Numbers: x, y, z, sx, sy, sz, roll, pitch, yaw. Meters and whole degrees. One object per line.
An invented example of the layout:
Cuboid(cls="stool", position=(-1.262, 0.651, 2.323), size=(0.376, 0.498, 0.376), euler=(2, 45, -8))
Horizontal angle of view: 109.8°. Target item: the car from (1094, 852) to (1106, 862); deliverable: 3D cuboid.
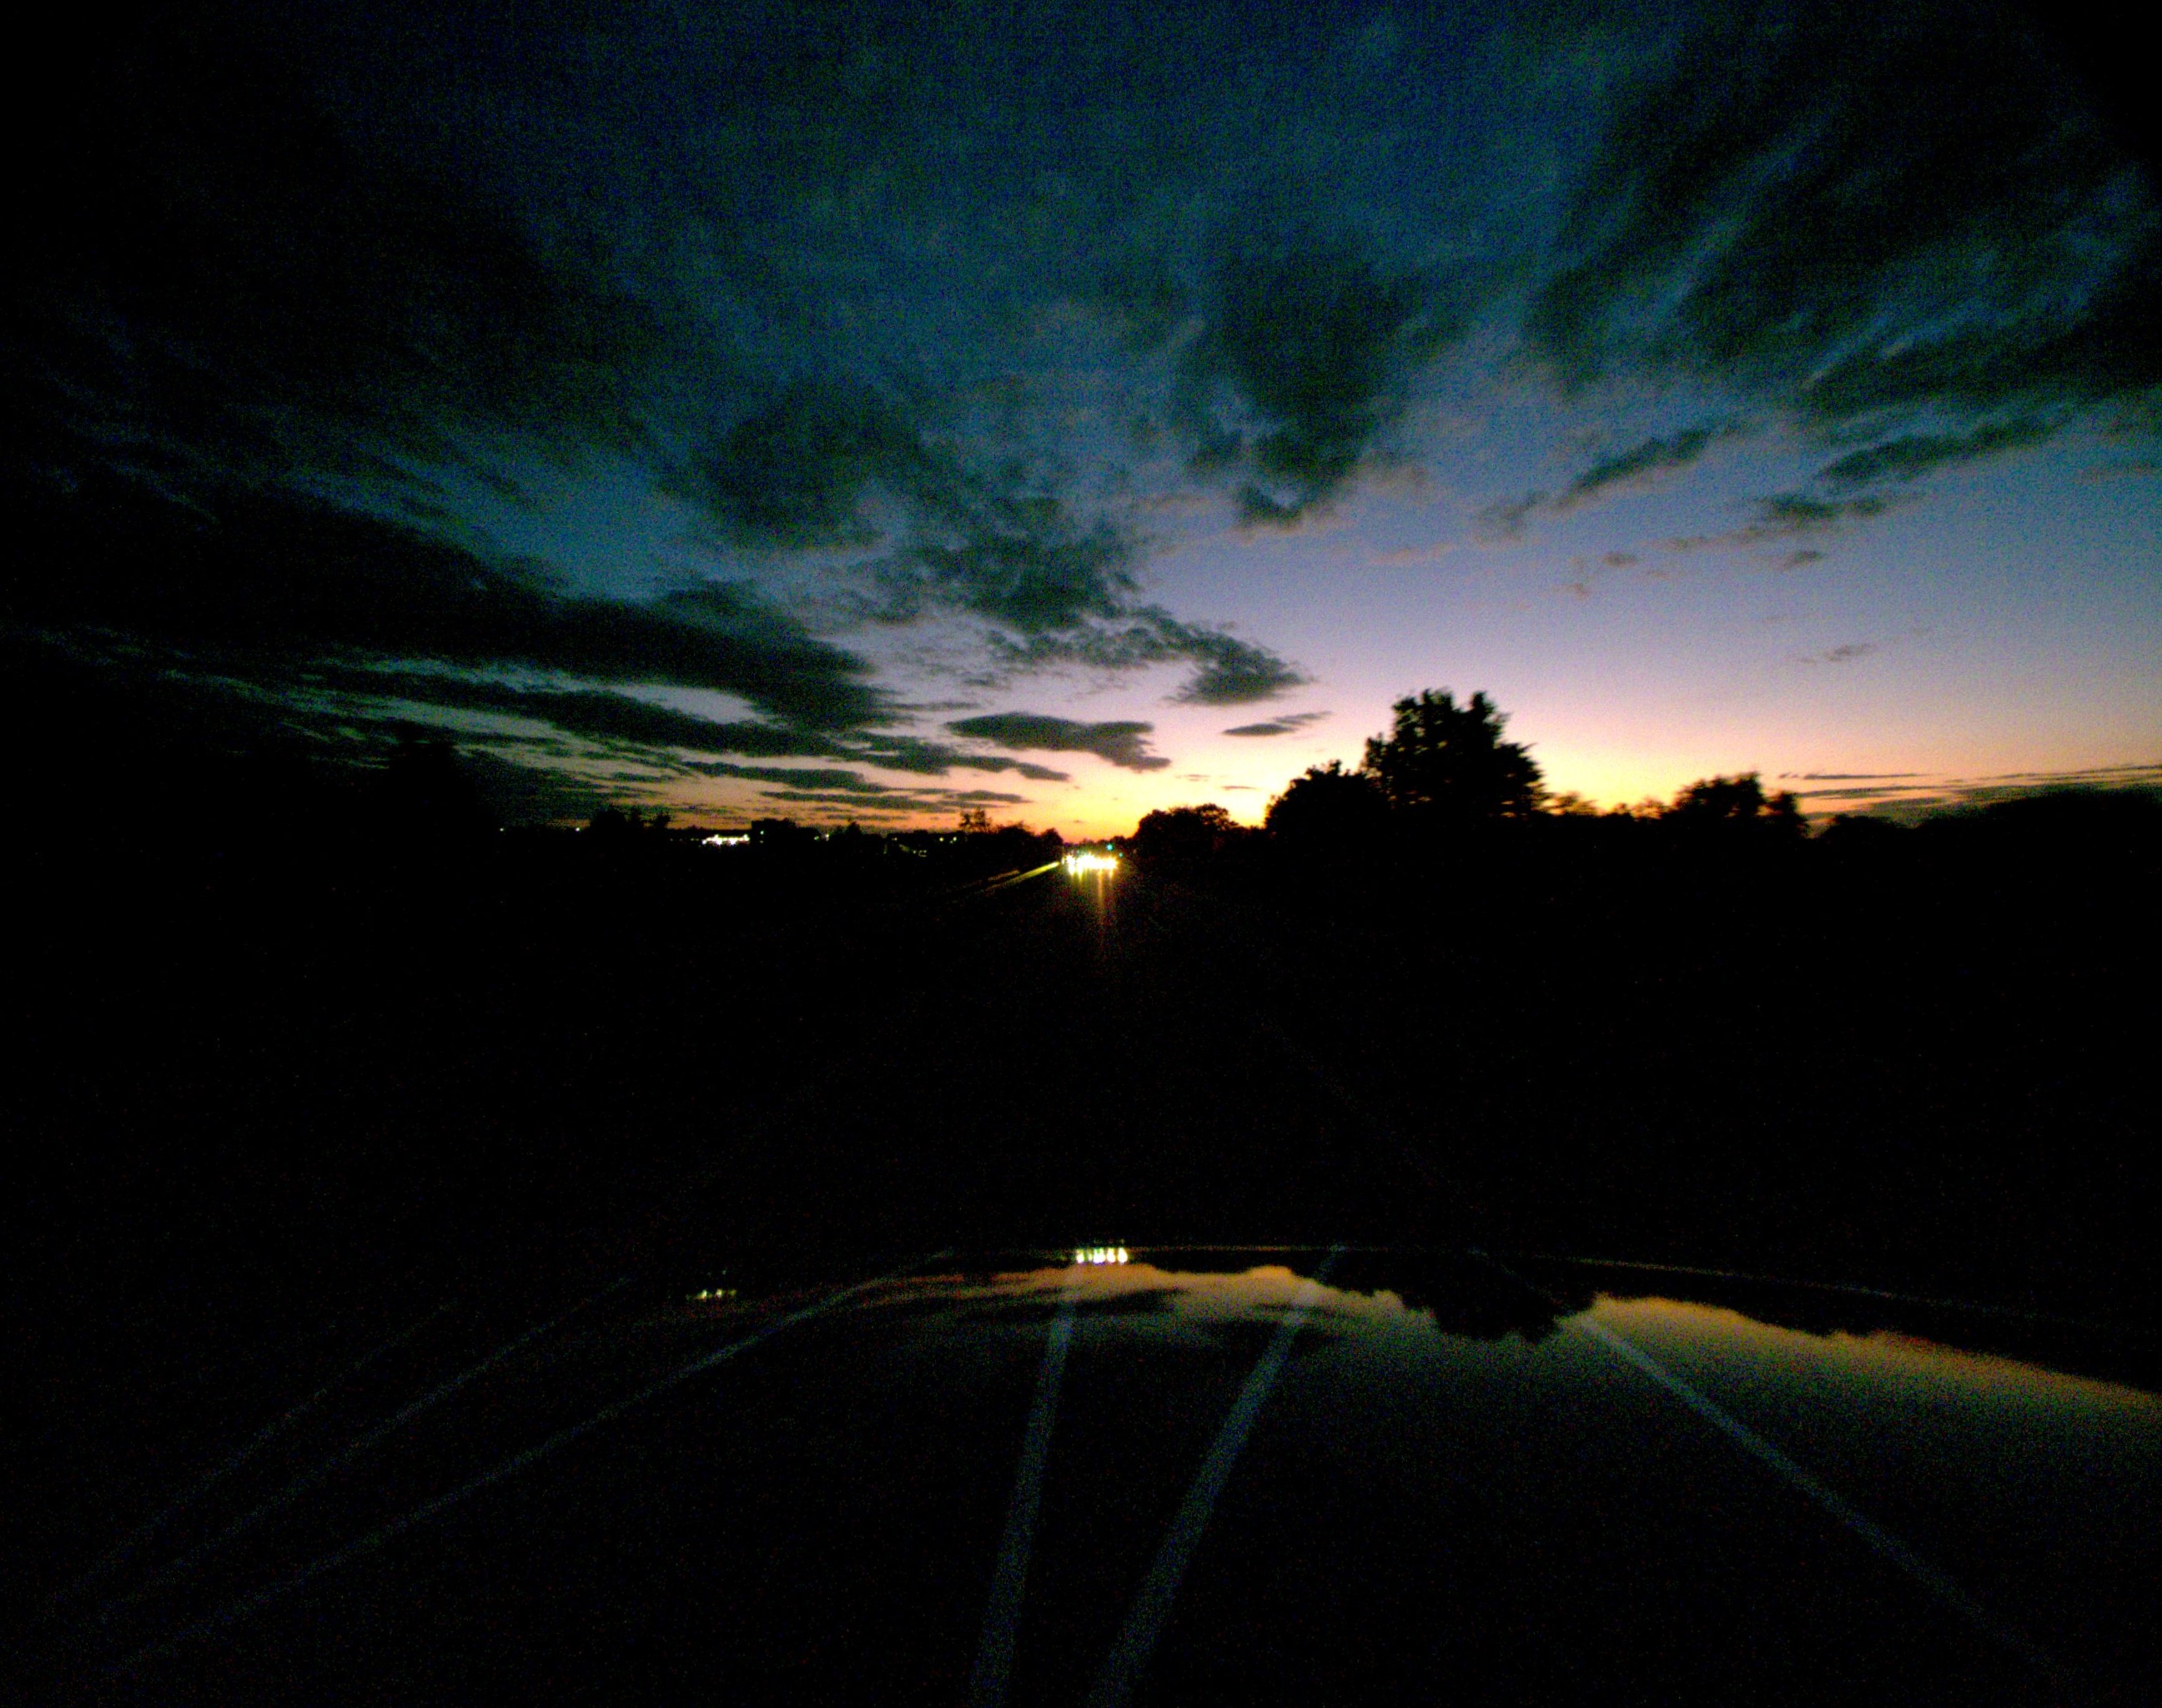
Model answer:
Cuboid(cls="car", position=(3.399, 0.502, 135.211), size=(1.998, 1.778, 3.999), euler=(-2, 1, 0))

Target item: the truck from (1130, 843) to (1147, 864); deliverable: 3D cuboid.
Cuboid(cls="truck", position=(14.670, -0.195, 194.223), size=(3.211, 5.225, 12.606), euler=(-2, 1, -1))

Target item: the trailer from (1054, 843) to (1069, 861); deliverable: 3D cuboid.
Cuboid(cls="trailer", position=(-4.425, -0.468, 171.954), size=(2.474, 3.789, 12.671), euler=(-2, 0, 2))

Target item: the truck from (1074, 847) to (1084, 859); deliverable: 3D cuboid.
Cuboid(cls="truck", position=(-0.534, -0.338, 253.835), size=(3.016, 3.674, 9.058), euler=(-2, 0, 1))

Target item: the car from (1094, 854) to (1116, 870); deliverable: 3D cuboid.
Cuboid(cls="car", position=(2.505, 0.815, 80.397), size=(1.999, 1.635, 4.296), euler=(-2, 0, -1))

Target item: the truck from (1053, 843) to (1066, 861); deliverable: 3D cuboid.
Cuboid(cls="truck", position=(-4.605, -0.401, 164.414), size=(2.491, 3.778, 5.498), euler=(-2, 1, 1))

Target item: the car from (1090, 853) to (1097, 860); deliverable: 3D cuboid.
Cuboid(cls="car", position=(3.598, 0.700, 219.294), size=(1.998, 2.002, 4.000), euler=(-2, 1, 1))

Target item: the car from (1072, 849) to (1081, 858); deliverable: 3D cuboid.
Cuboid(cls="car", position=(-0.974, -0.231, 178.024), size=(1.998, 2.002, 4.000), euler=(-2, 1, 1))

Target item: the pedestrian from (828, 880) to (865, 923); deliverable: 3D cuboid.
Cuboid(cls="pedestrian", position=(-9.545, 1.934, 30.970), size=(1.064, 1.633, 1.118), euler=(-2, 1, 0))

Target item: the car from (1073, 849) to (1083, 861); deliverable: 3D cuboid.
Cuboid(cls="car", position=(-0.555, 0.131, 132.457), size=(1.741, 2.002, 4.000), euler=(-2, 0, -1))
